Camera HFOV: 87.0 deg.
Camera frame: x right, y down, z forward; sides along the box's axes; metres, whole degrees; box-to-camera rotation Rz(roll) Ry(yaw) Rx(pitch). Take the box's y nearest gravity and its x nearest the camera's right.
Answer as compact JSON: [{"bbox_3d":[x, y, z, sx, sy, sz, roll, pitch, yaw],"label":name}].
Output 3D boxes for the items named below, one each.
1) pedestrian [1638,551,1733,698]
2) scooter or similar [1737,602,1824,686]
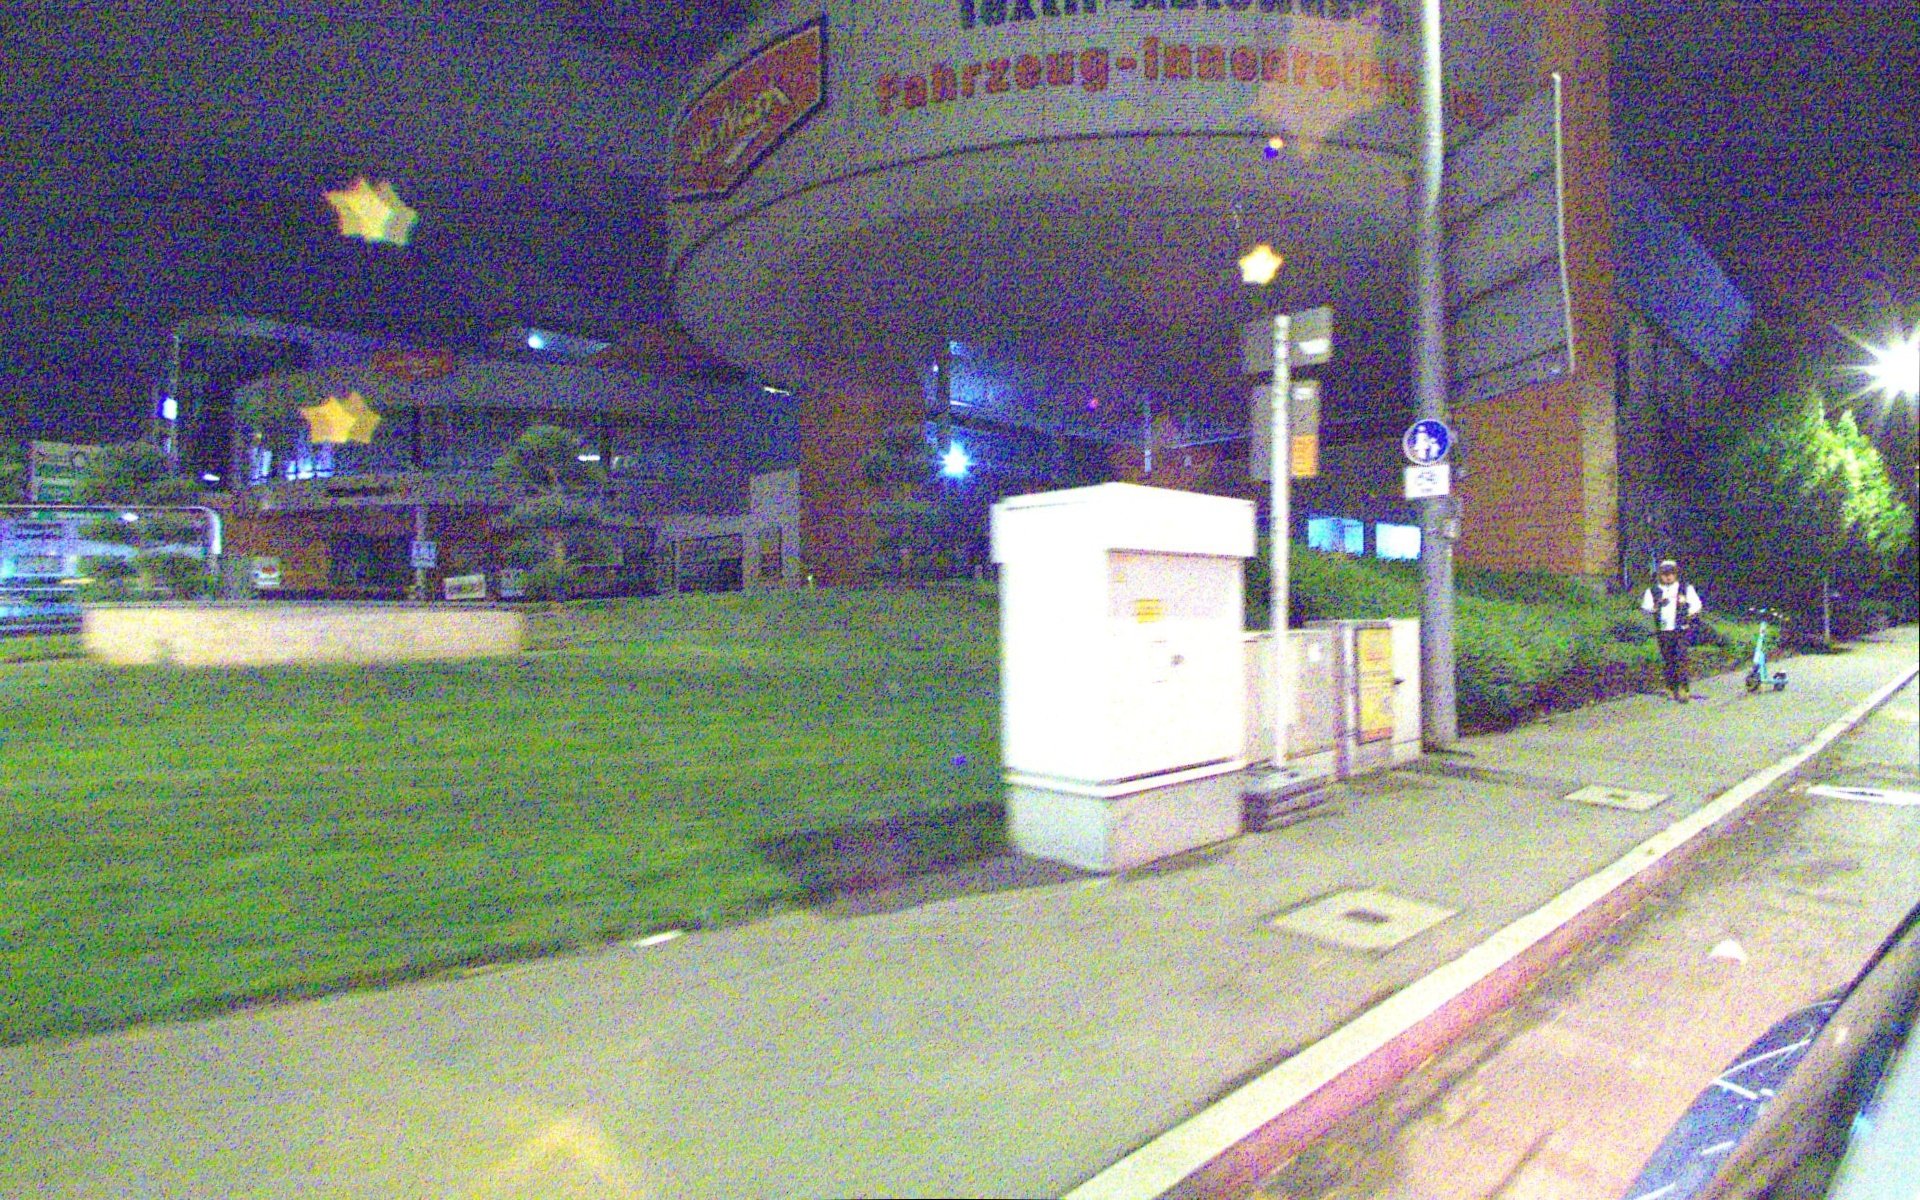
[{"bbox_3d":[9.781,0.305,13.638,1.016,1.889,0.819,0,0,-41],"label":"pedestrian"},{"bbox_3d":[12.211,0.641,15.061,1.111,1.217,0.470,1,-1,-17],"label":"scooter or similar"}]
